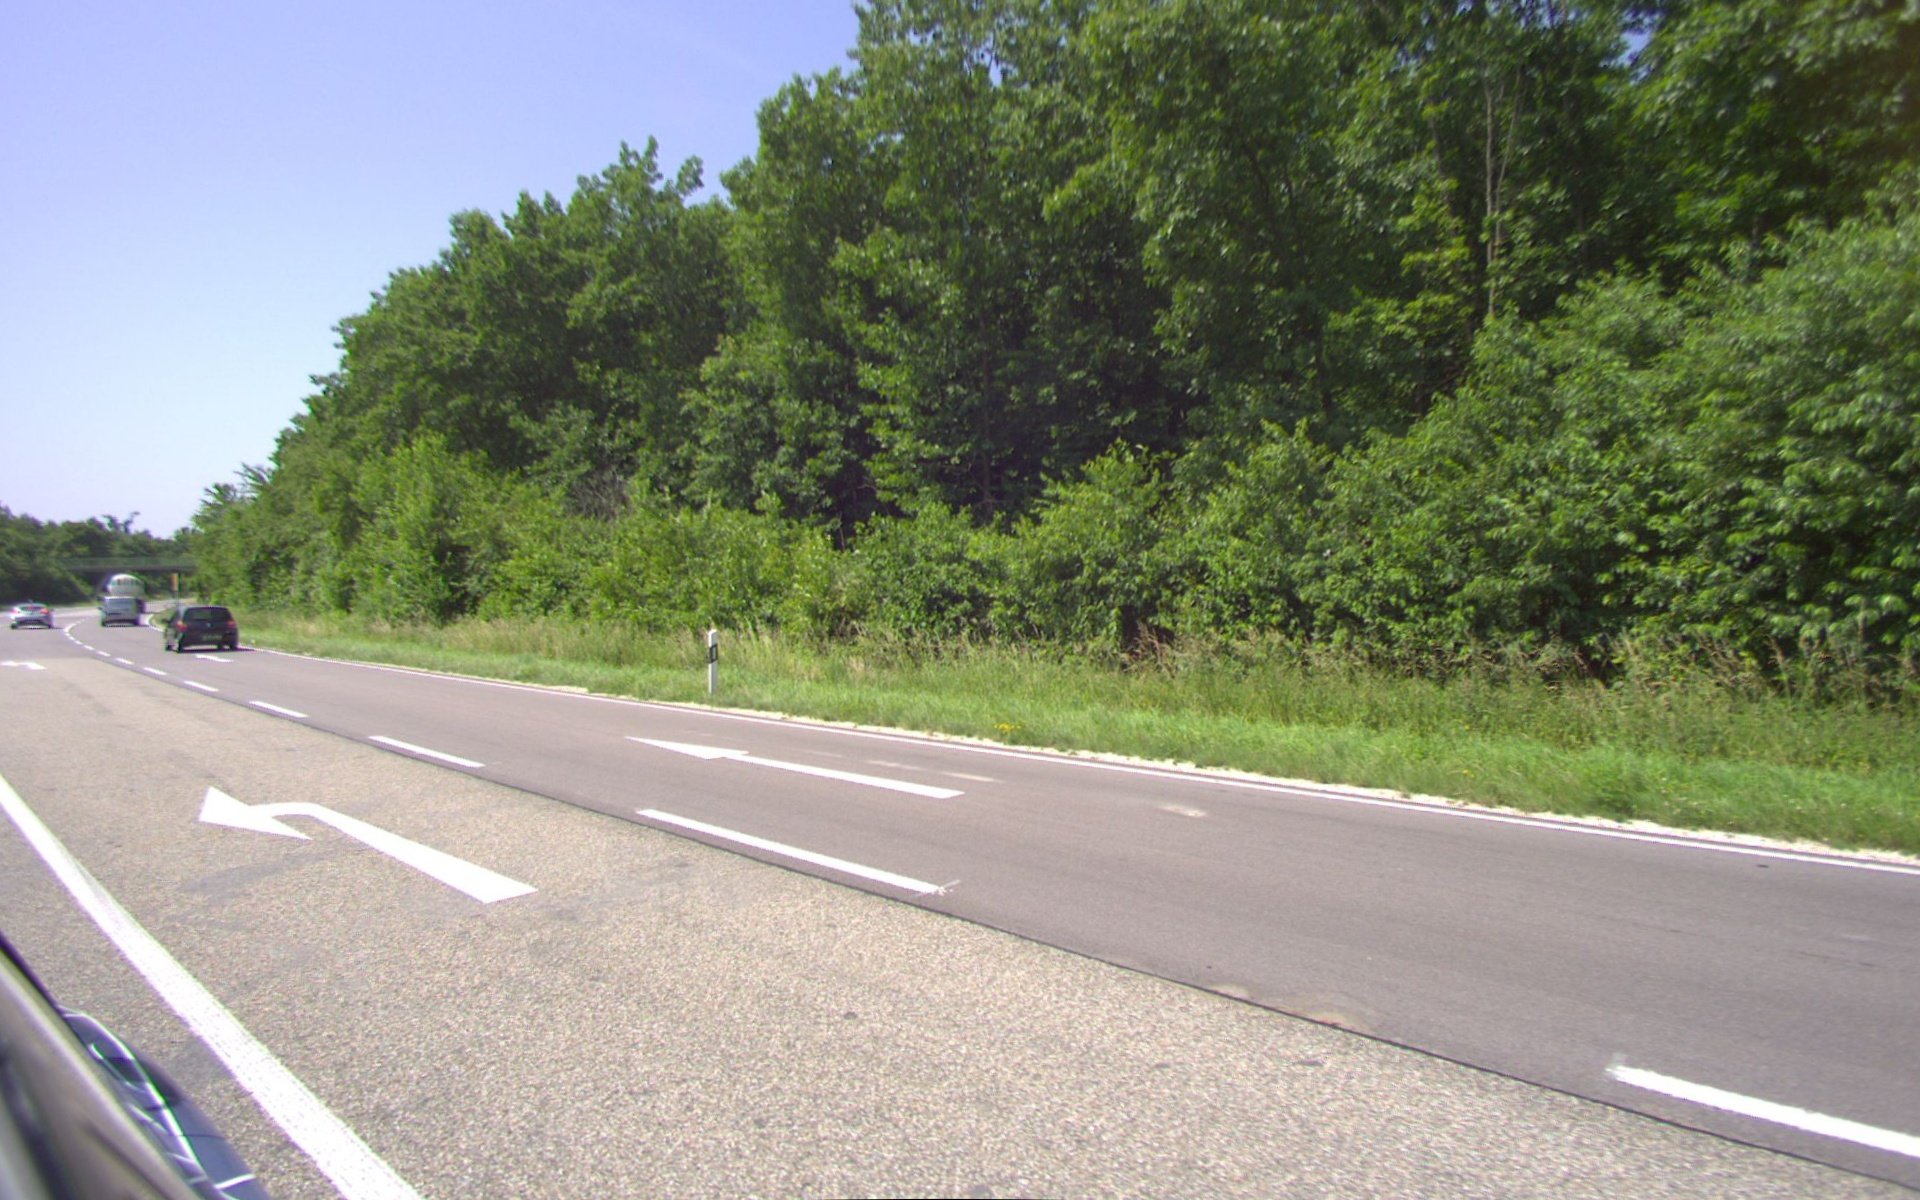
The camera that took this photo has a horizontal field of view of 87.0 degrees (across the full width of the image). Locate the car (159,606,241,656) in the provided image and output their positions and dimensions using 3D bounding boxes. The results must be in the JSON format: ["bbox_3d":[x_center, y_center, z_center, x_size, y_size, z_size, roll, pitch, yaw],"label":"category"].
[{"bbox_3d":[-24.585,0.959,32.708,3.553,1.513,1.596,-1,0,44],"label":"car"}]

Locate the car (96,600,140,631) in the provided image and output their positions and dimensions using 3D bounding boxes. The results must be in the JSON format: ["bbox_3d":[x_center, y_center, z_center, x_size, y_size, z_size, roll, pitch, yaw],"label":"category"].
[{"bbox_3d":[-51.734,0.922,62.134,1.821,1.792,4.898,-1,0,-43],"label":"car"}]

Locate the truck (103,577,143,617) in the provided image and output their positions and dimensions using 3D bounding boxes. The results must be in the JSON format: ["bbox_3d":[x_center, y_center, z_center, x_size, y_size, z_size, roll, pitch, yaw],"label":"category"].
[{"bbox_3d":[-81.030,-0.302,98.073,2.593,3.698,8.815,-1,0,-38],"label":"truck"}]

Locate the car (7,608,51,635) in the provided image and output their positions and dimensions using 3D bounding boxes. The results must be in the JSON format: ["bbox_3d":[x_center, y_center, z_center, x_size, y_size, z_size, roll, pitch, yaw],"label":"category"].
[{"bbox_3d":[-52.969,1.194,57.622,1.687,1.430,4.104,-1,1,-41],"label":"car"}]
